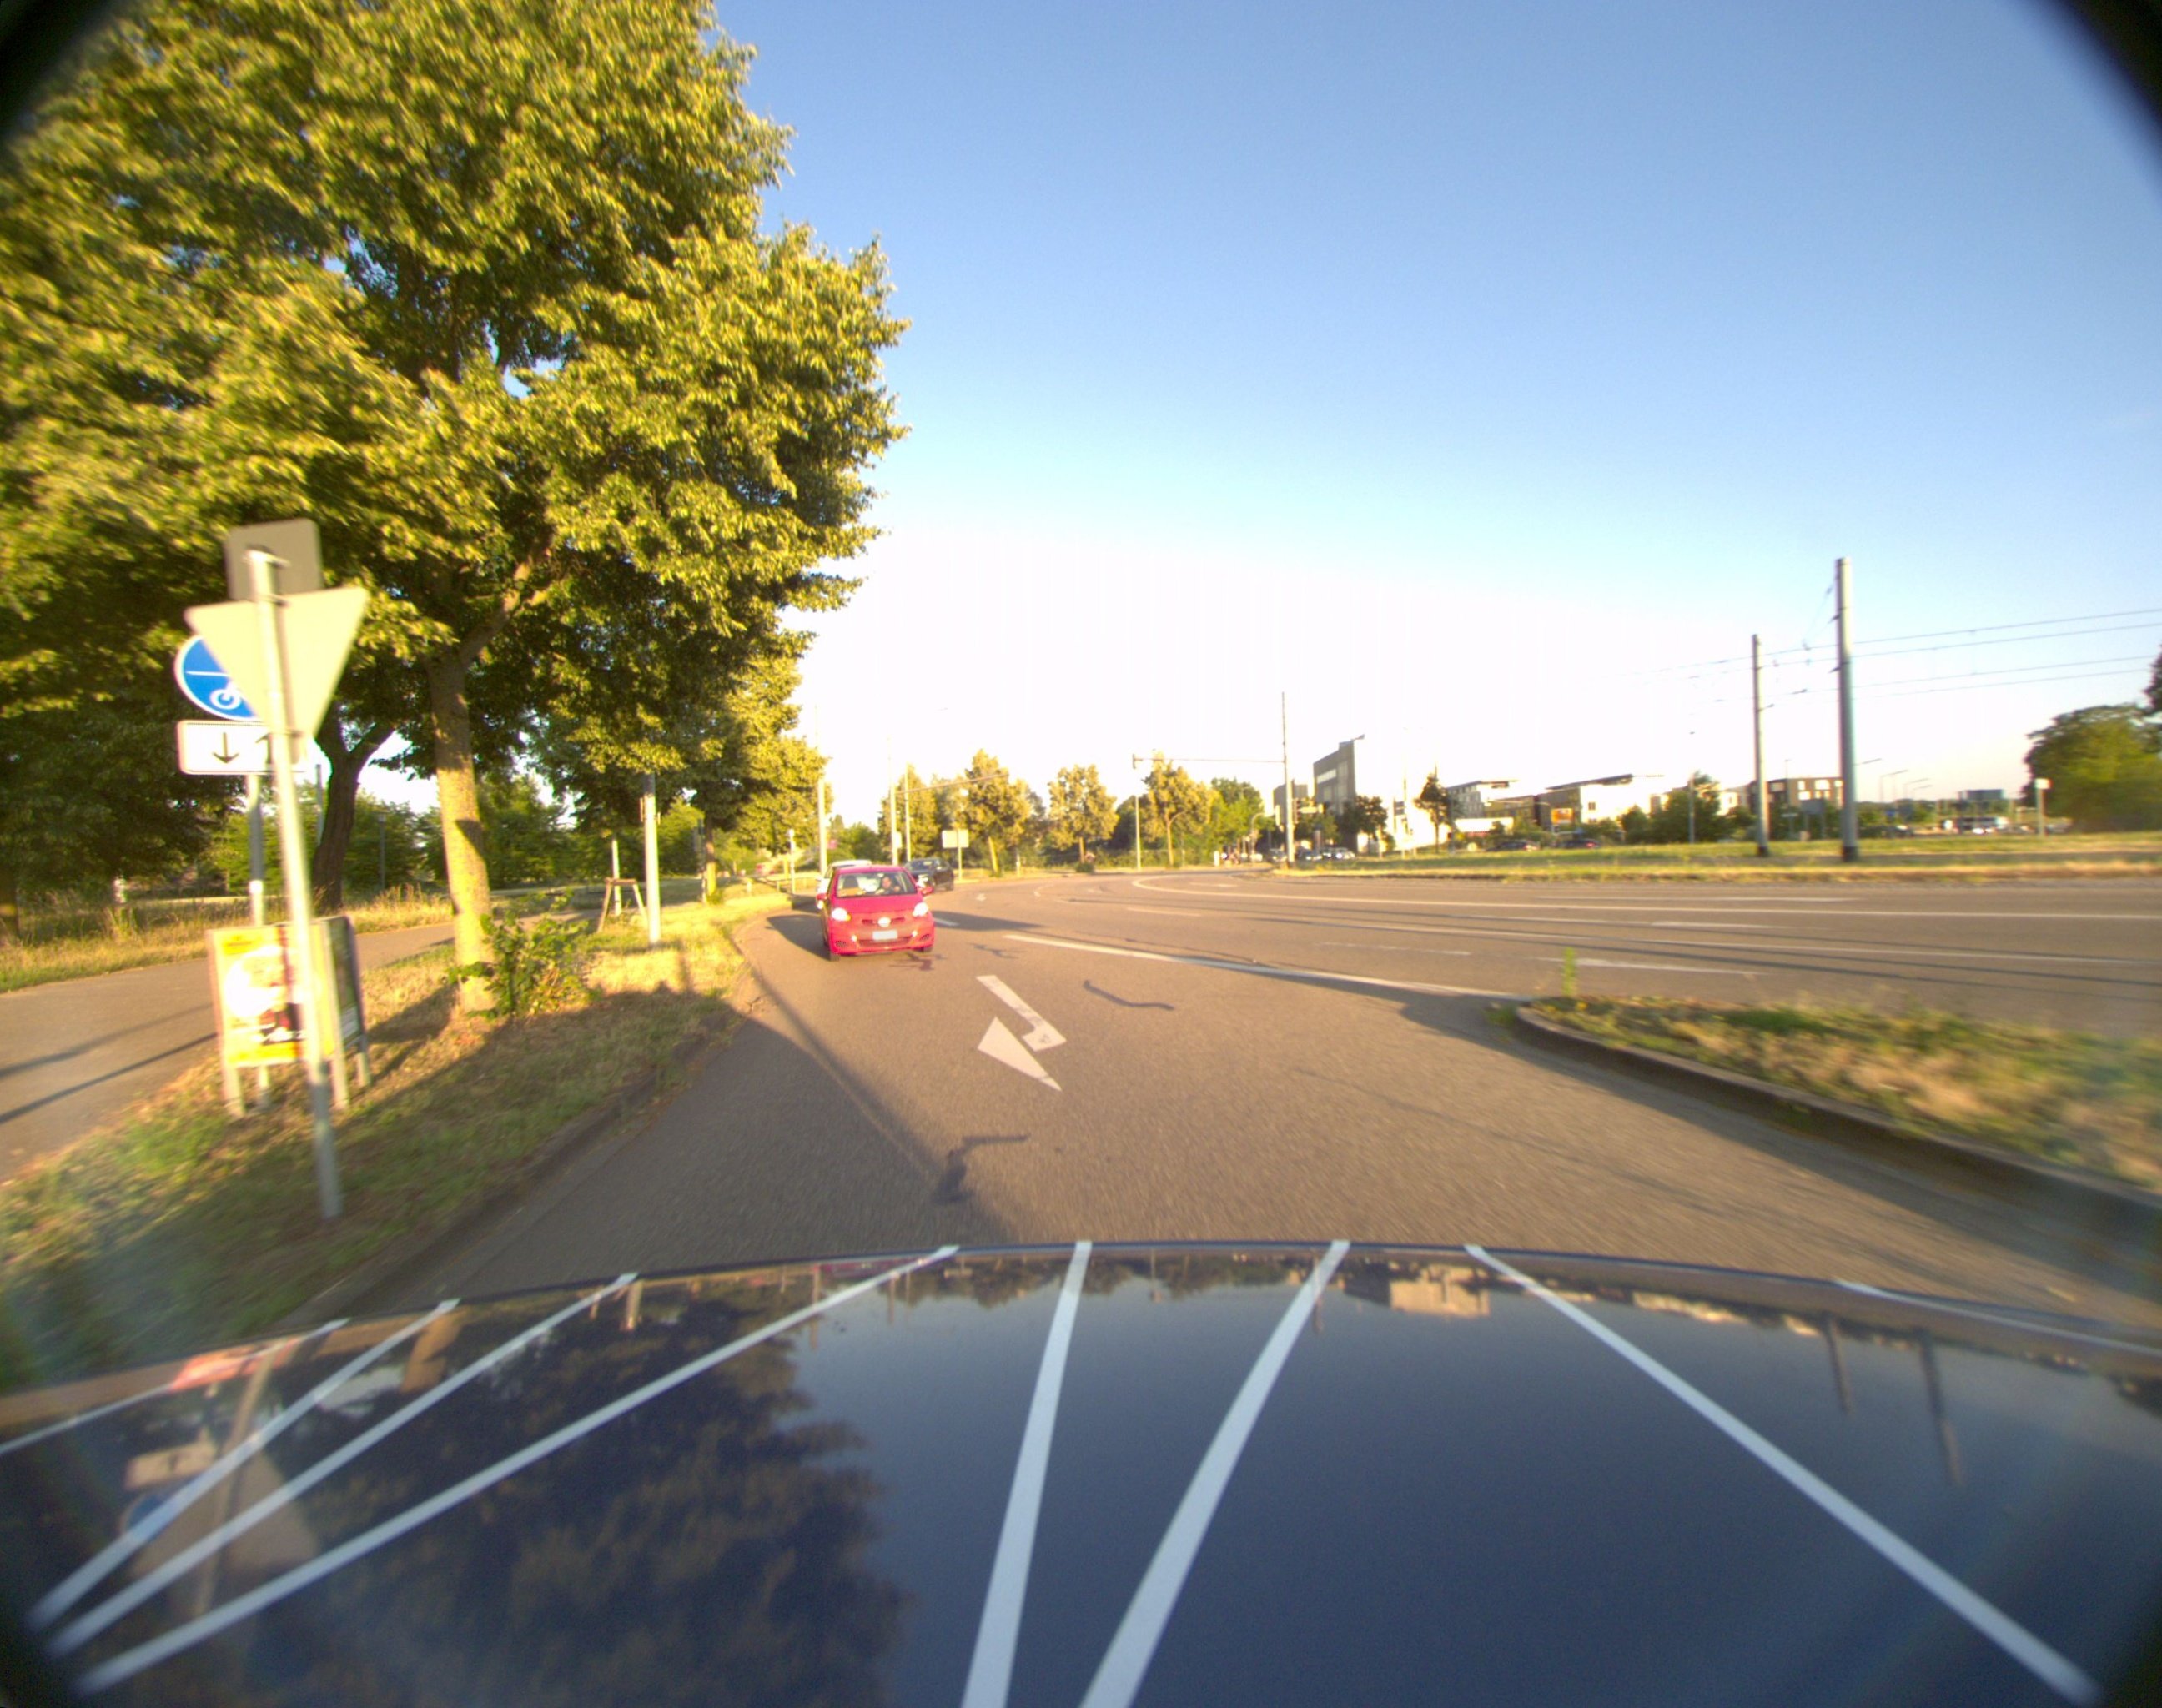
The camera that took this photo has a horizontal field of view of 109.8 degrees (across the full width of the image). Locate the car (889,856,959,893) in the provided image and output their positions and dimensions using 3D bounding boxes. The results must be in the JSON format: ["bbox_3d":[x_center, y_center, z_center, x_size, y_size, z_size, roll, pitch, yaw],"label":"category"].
[{"bbox_3d":[-7.120,0.909,34.885,1.826,1.549,4.217,-2,0,7],"label":"car"}]

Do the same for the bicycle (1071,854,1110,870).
[{"bbox_3d":[0.940,0.794,73.208,3.534,1.387,1.124,-2,1,8],"label":"bicycle"}]

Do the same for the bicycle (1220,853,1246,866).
[{"bbox_3d":[15.138,0.533,75.790,2.329,1.172,0.810,-2,1,-10],"label":"bicycle"}]

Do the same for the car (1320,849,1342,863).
[{"bbox_3d":[29.736,0.233,90.515,1.870,1.616,4.195,-2,0,9],"label":"car"}]

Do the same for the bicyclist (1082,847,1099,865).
[{"bbox_3d":[0.957,0.177,73.181,1.415,1.739,1.124,-2,1,8],"label":"bicyclist"}]

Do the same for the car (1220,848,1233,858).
[{"bbox_3d":[26.869,-0.213,140.483,1.871,1.616,4.193,-2,0,3],"label":"car"}]

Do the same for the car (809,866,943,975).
[{"bbox_3d":[-3.701,0.996,13.192,1.696,1.413,4.203,-4,1,-22],"label":"car"}]

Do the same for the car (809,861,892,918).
[{"bbox_3d":[-7.142,1.039,23.944,1.760,1.549,4.212,-2,0,-7],"label":"car"}]

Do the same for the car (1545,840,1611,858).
[{"bbox_3d":[43.295,-0.450,66.317,1.948,1.424,4.393,-2,0,-30],"label":"car"}]

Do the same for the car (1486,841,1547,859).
[{"bbox_3d":[38.277,-0.328,66.870,1.844,1.492,4.246,-2,0,-27],"label":"car"}]

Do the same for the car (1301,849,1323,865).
[{"bbox_3d":[26.022,0.324,85.700,1.870,1.616,4.195,-2,0,9],"label":"car"}]

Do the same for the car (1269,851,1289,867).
[{"bbox_3d":[23.367,0.576,89.744,1.870,1.740,3.854,-2,1,9],"label":"car"}]

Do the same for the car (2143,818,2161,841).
[{"bbox_3d":[67.551,-1.545,46.174,1.939,1.424,4.604,-2,0,33],"label":"car"}]

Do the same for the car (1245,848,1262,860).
[{"bbox_3d":[25.197,-0.058,111.127,1.871,1.616,4.194,-2,0,6],"label":"car"}]

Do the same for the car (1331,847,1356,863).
[{"bbox_3d":[28.961,0.081,83.802,1.870,1.616,4.195,-2,0,9],"label":"car"}]

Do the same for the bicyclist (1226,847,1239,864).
[{"bbox_3d":[15.095,0.173,75.775,1.001,1.623,0.810,-2,1,-10],"label":"bicyclist"}]
